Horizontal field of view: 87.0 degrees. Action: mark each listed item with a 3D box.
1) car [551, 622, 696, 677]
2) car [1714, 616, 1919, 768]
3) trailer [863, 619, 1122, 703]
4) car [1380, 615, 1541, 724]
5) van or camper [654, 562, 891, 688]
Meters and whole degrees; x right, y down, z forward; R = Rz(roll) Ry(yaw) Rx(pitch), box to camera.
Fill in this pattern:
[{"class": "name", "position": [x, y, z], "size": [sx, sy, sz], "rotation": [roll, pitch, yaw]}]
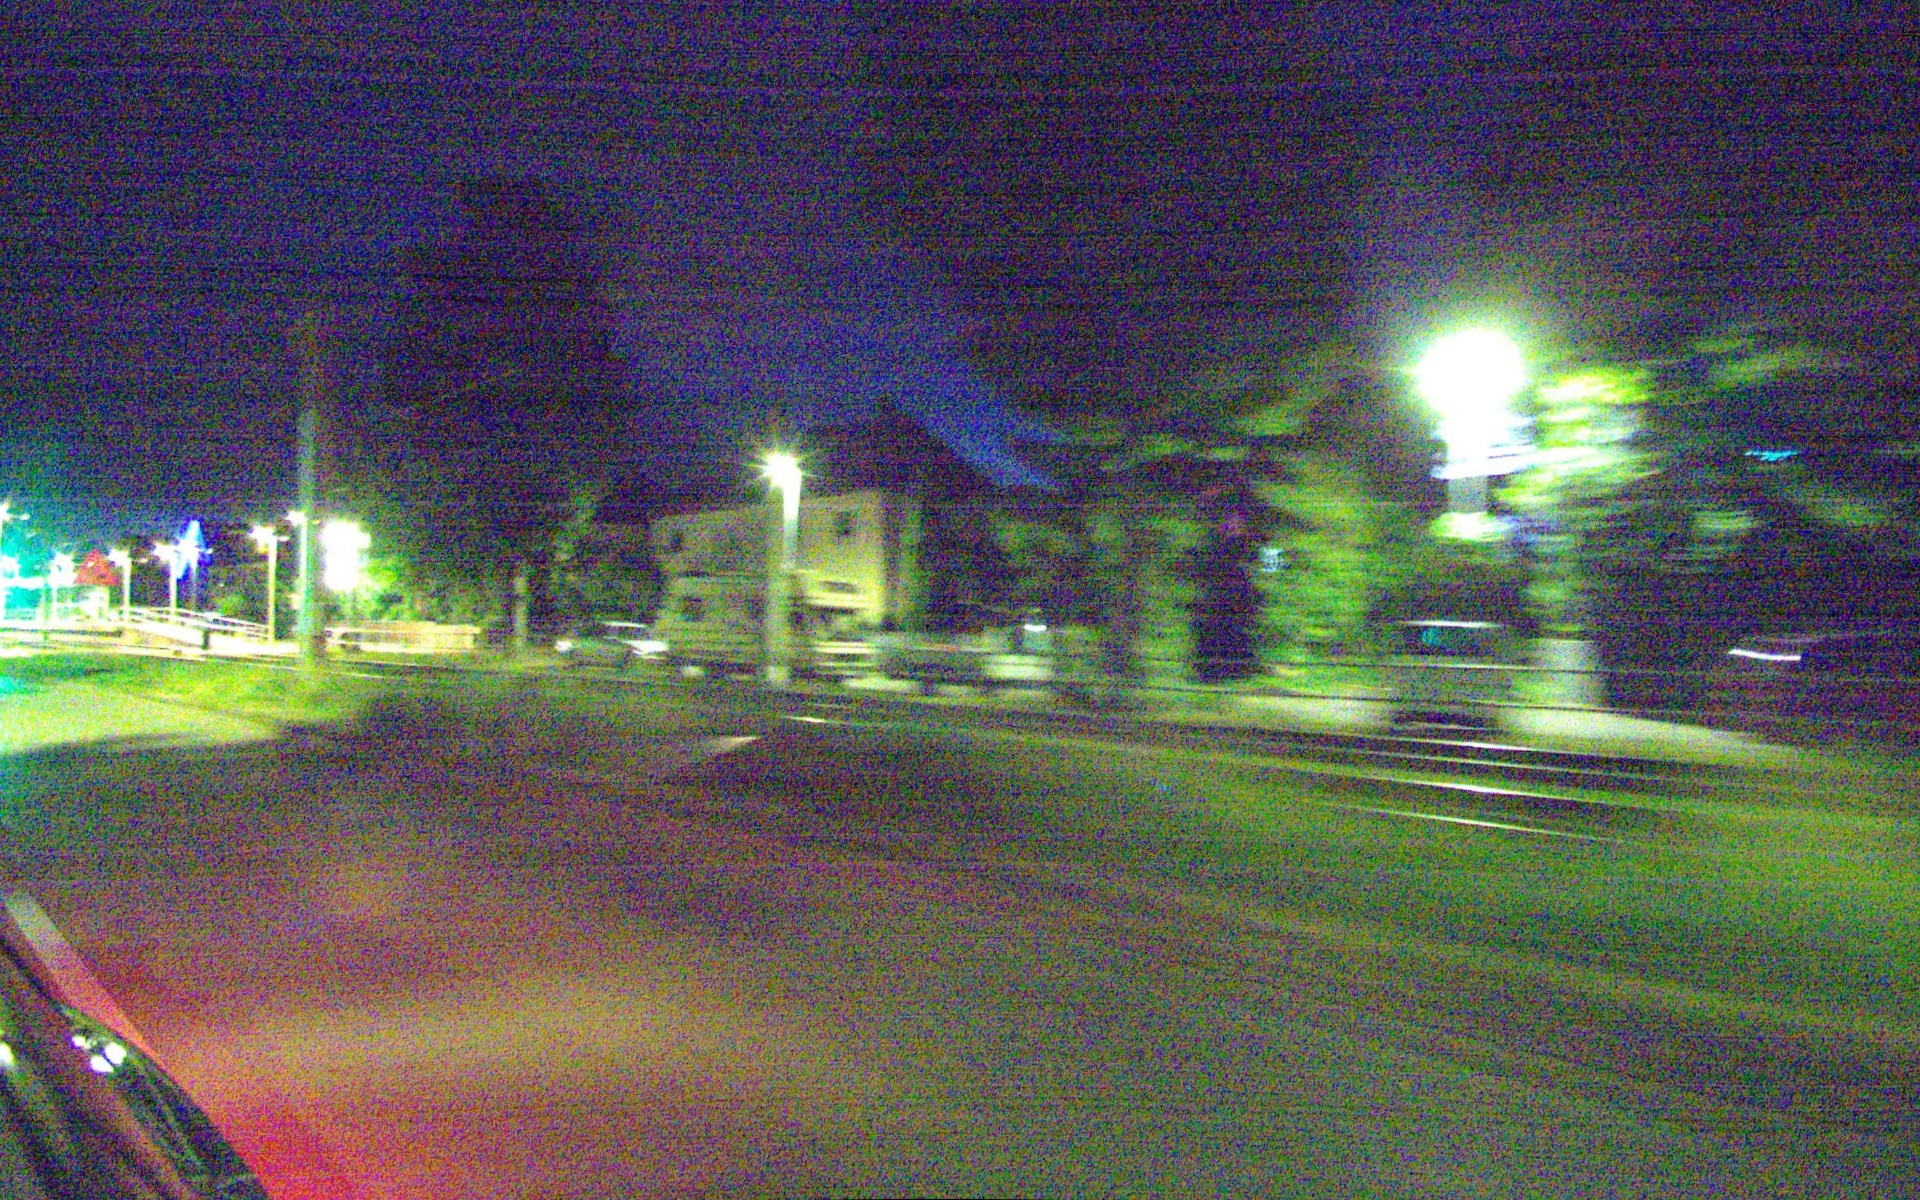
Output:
[{"class": "car", "position": [-9.357, 1.341, 27.945], "size": [4.540, 1.350, 1.629], "rotation": [-1, -6, 40]}, {"class": "car", "position": [10.954, 0.928, 10.222], "size": [5.173, 1.534, 1.881], "rotation": [-1, -2, 44]}, {"class": "trailer", "position": [0.529, 1.161, 19.749], "size": [2.391, 1.385, 4.658], "rotation": [7, -6, -44]}, {"class": "car", "position": [7.033, 0.882, 14.105], "size": [1.531, 1.336, 3.001], "rotation": [-1, -1, 36]}, {"class": "van or camper", "position": [-4.536, 0.631, 23.969], "size": [5.654, 2.668, 2.251], "rotation": [-1, -4, 37]}]
